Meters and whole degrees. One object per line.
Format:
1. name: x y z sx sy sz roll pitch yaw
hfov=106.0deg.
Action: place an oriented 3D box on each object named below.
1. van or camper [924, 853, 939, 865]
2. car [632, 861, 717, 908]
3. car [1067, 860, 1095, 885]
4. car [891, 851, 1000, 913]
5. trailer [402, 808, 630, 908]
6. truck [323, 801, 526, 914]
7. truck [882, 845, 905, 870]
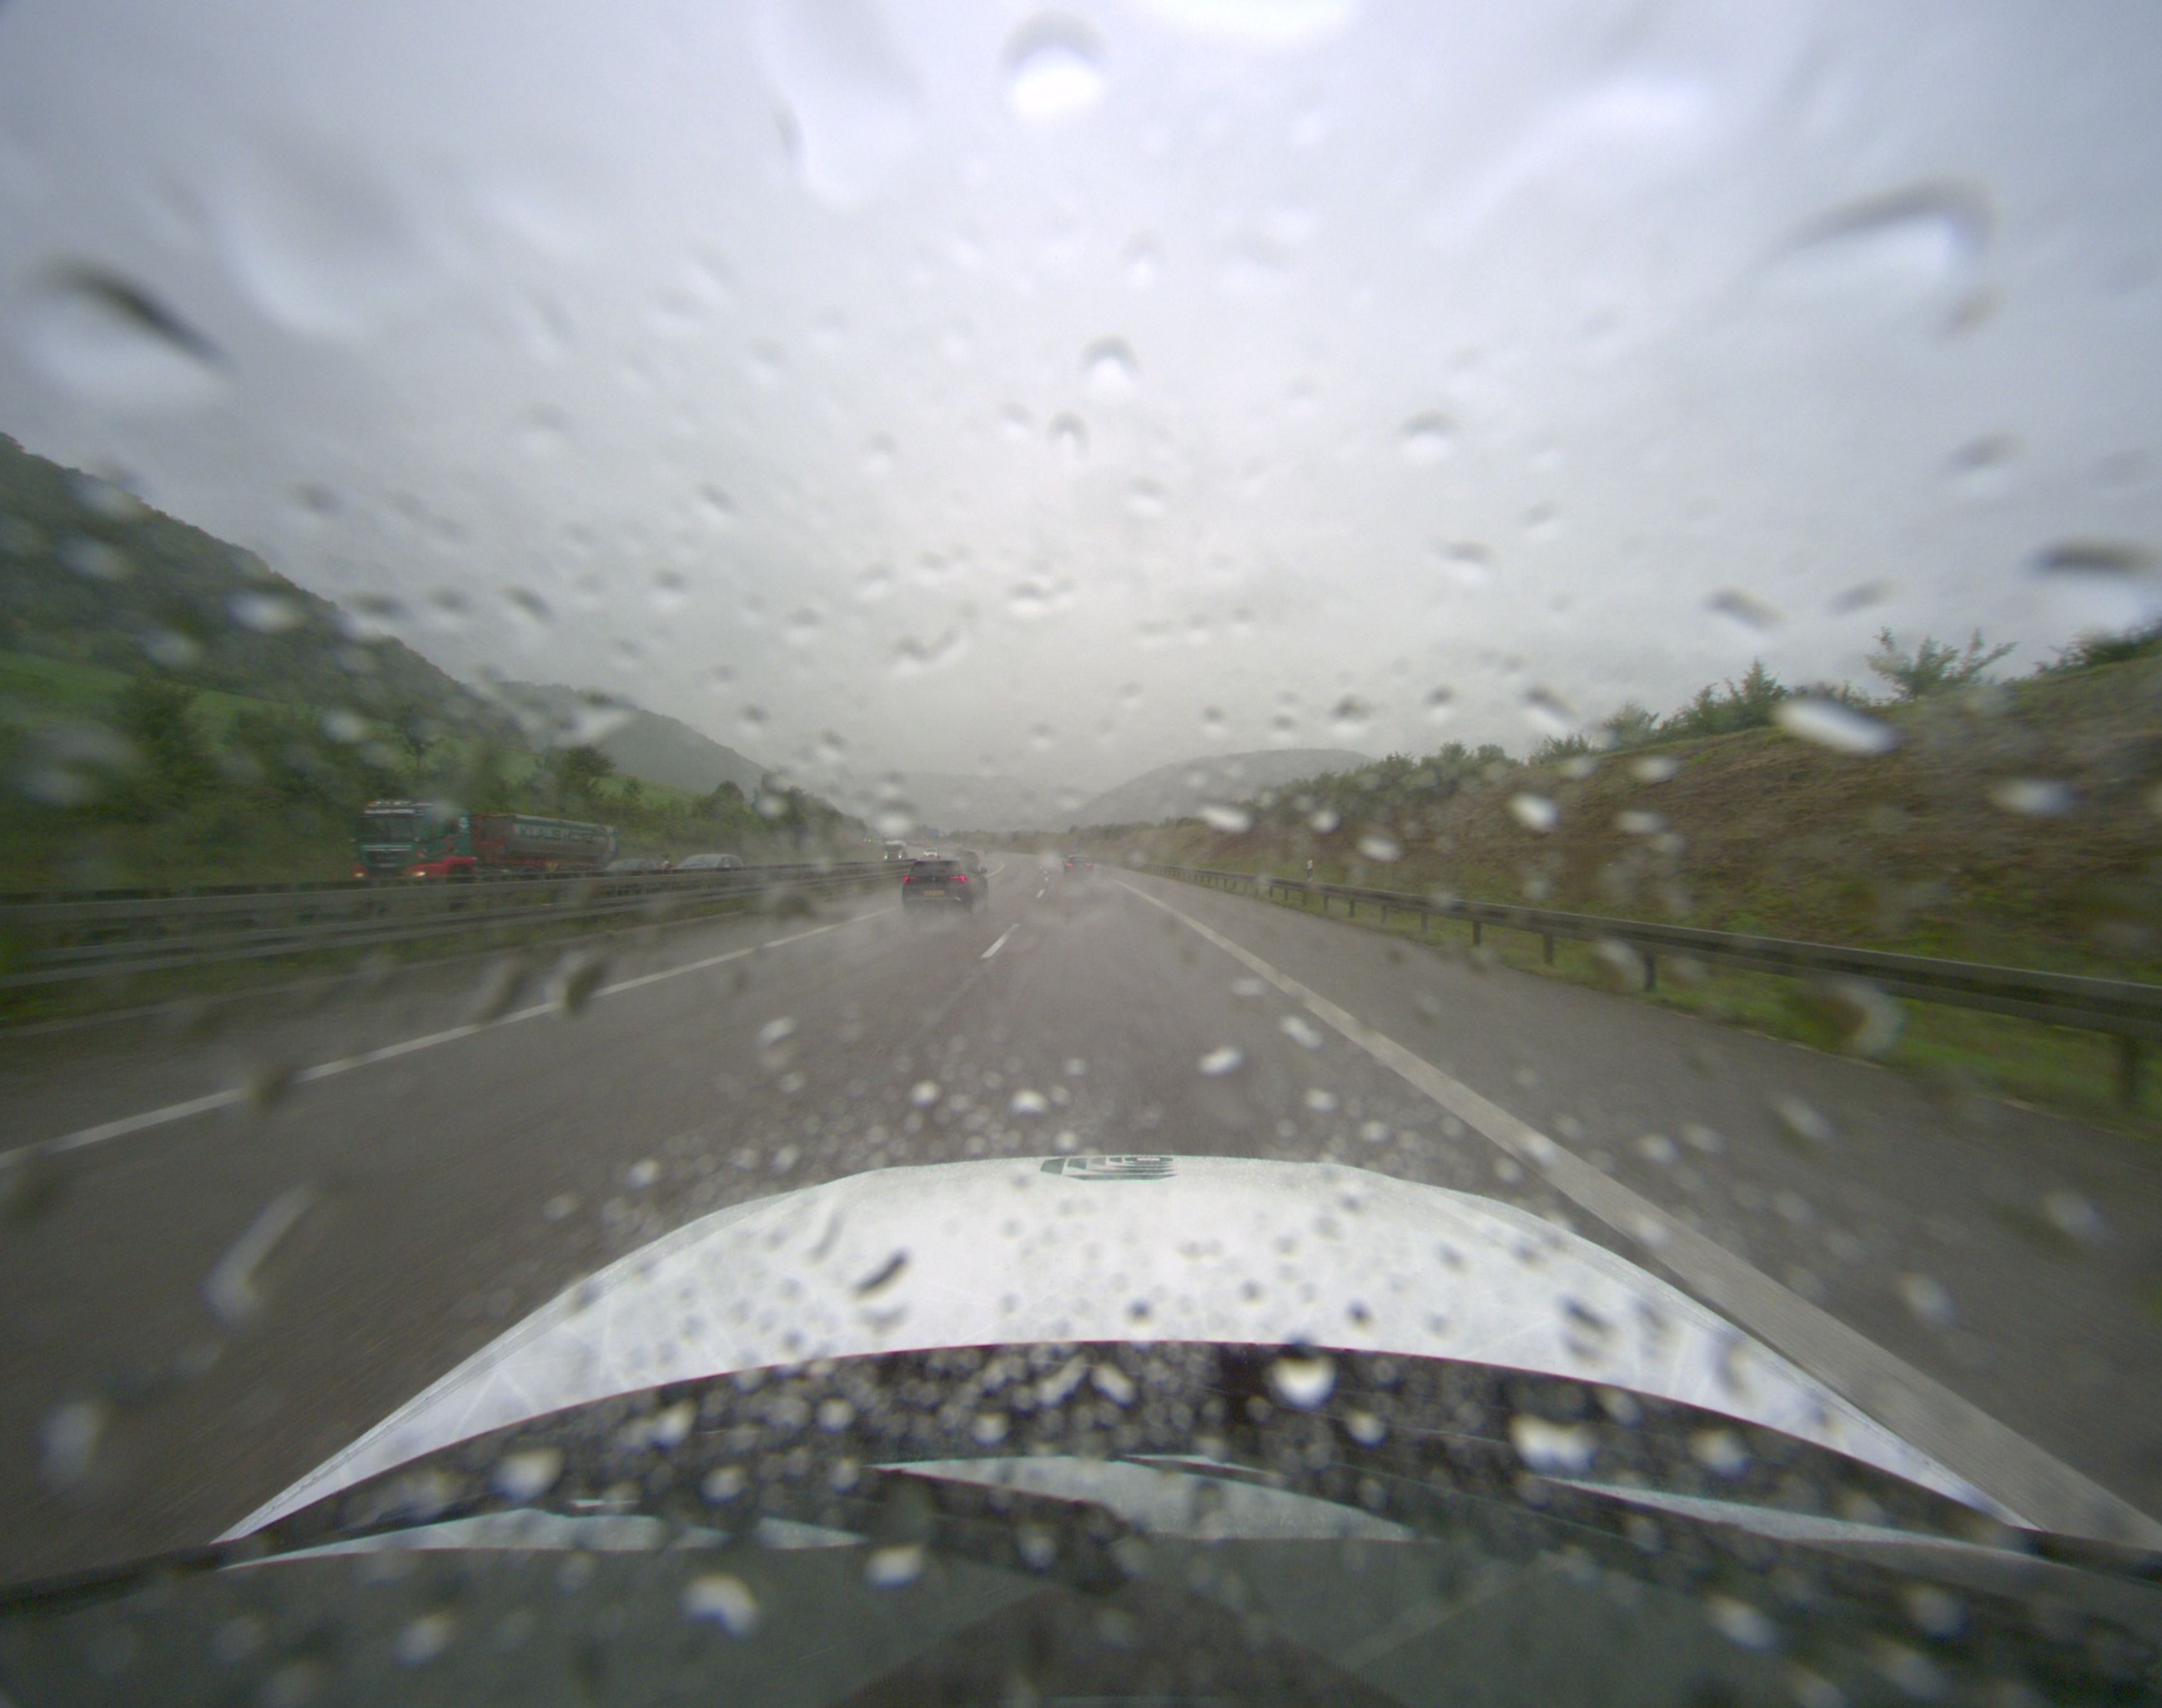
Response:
1. van or camper: -25.542 0.806 139.399 1.990 1.878 5.338 -1 0 -4
2. car: -18.591 1.353 37.452 1.908 2.013 3.999 0 0 -1
3. car: -0.016 1.106 50.278 1.674 1.472 3.813 1 0 -1
4. car: -3.619 0.729 22.773 2.400 1.515 4.779 1 -1 -3
5. trailer: -22.463 0.120 33.303 2.711 3.491 9.395 0 0 0
6. truck: -22.444 0.096 28.262 2.707 3.542 5.310 0 0 0
7. truck: -28.758 0.518 124.955 2.881 3.802 5.302 -1 0 -7
